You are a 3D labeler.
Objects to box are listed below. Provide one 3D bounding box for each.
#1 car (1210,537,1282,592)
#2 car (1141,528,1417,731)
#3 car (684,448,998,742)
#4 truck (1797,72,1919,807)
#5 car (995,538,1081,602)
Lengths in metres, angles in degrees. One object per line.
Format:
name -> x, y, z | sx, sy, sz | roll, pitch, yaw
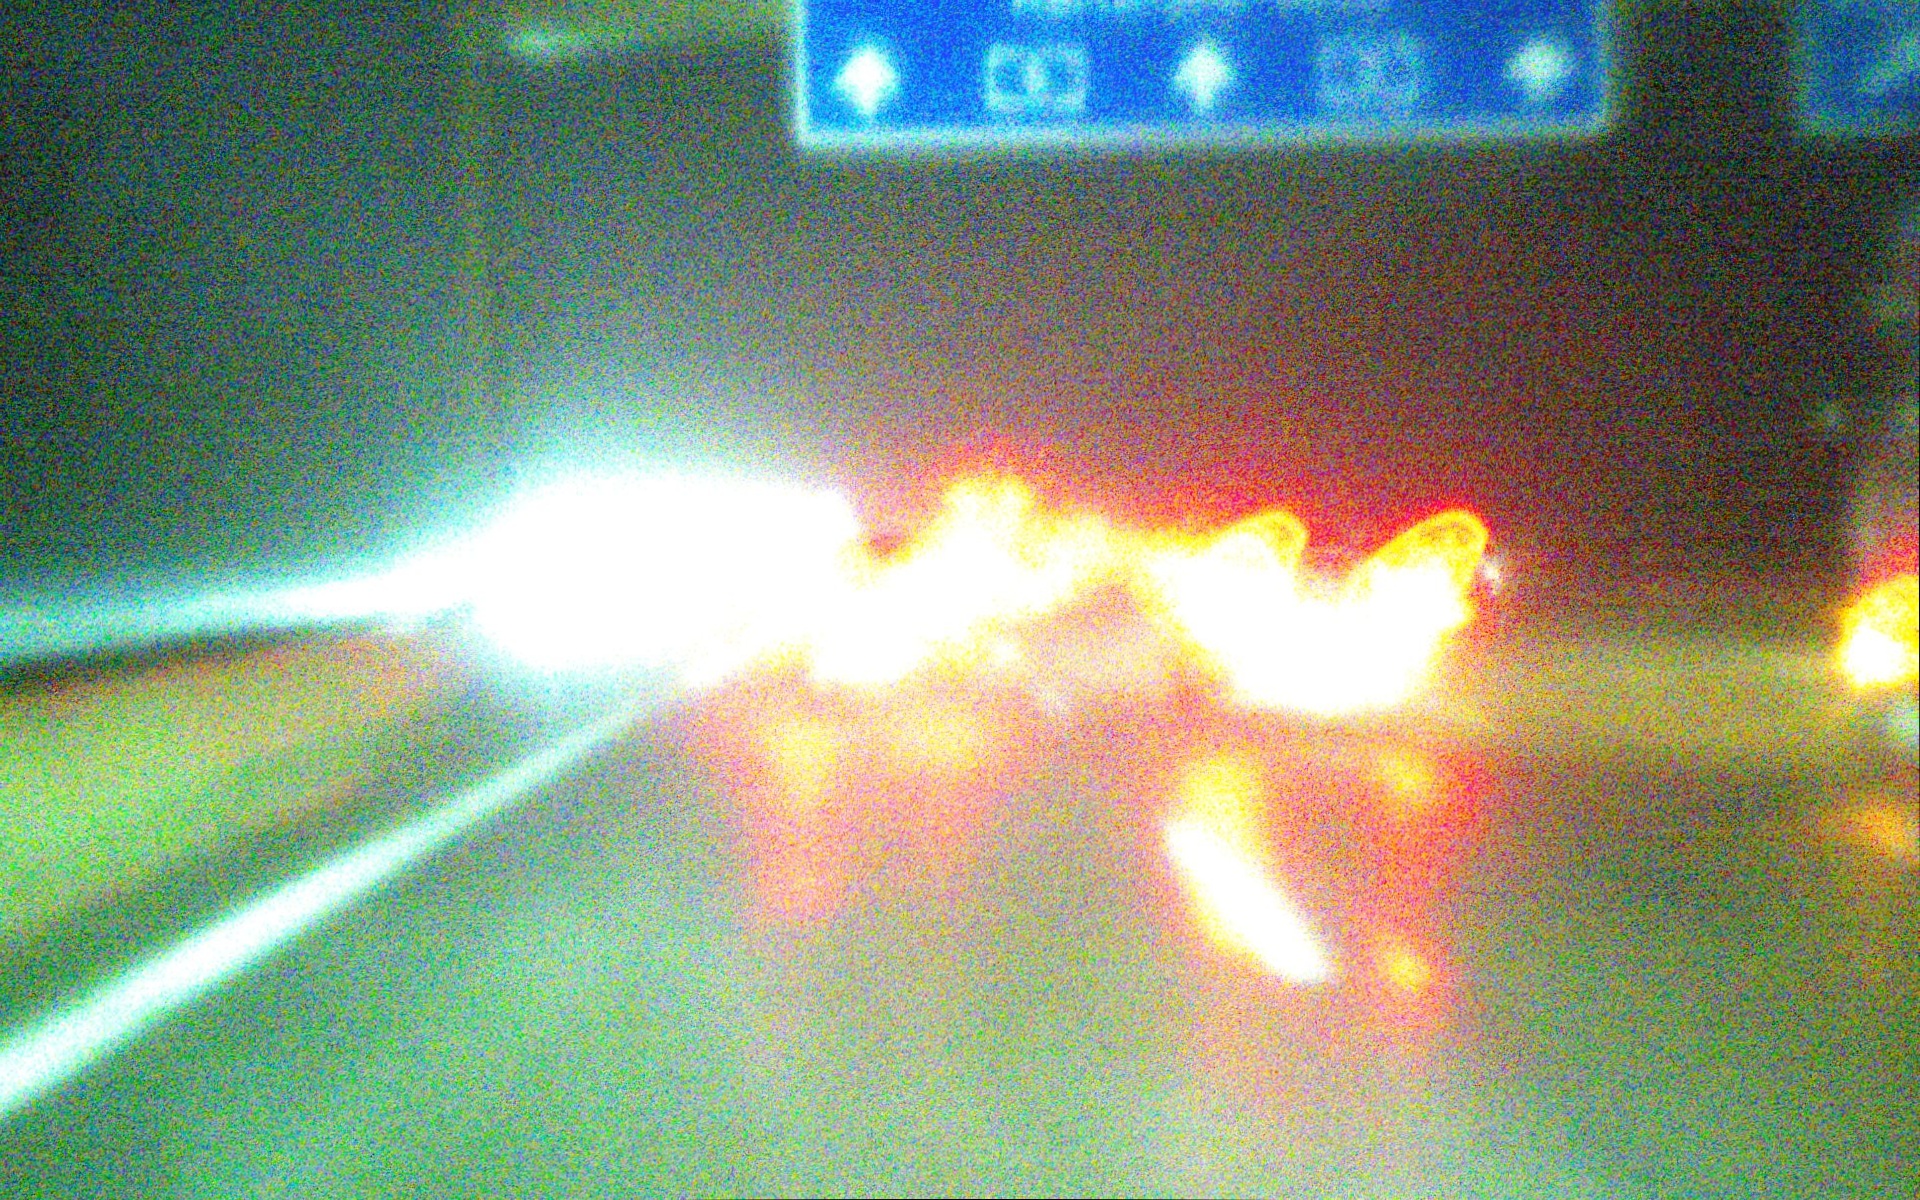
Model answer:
car -> 8.739, -1.095, 105.378 | 1.856, 1.612, 4.000 | 1, 1, 0
car -> 2.621, 0.196, 29.073 | 1.884, 1.583, 4.000 | 0, 1, -1
car -> -1.176, -0.114, 33.592 | 2.709, 2.525, 5.832 | -2, 1, -2
truck -> 6.970, -0.907, 18.817 | 2.803, 4.252, 7.448 | 0, 1, -1
car -> 1.994, -0.784, 89.414 | 2.137, 1.612, 4.000 | 1, 1, 0
